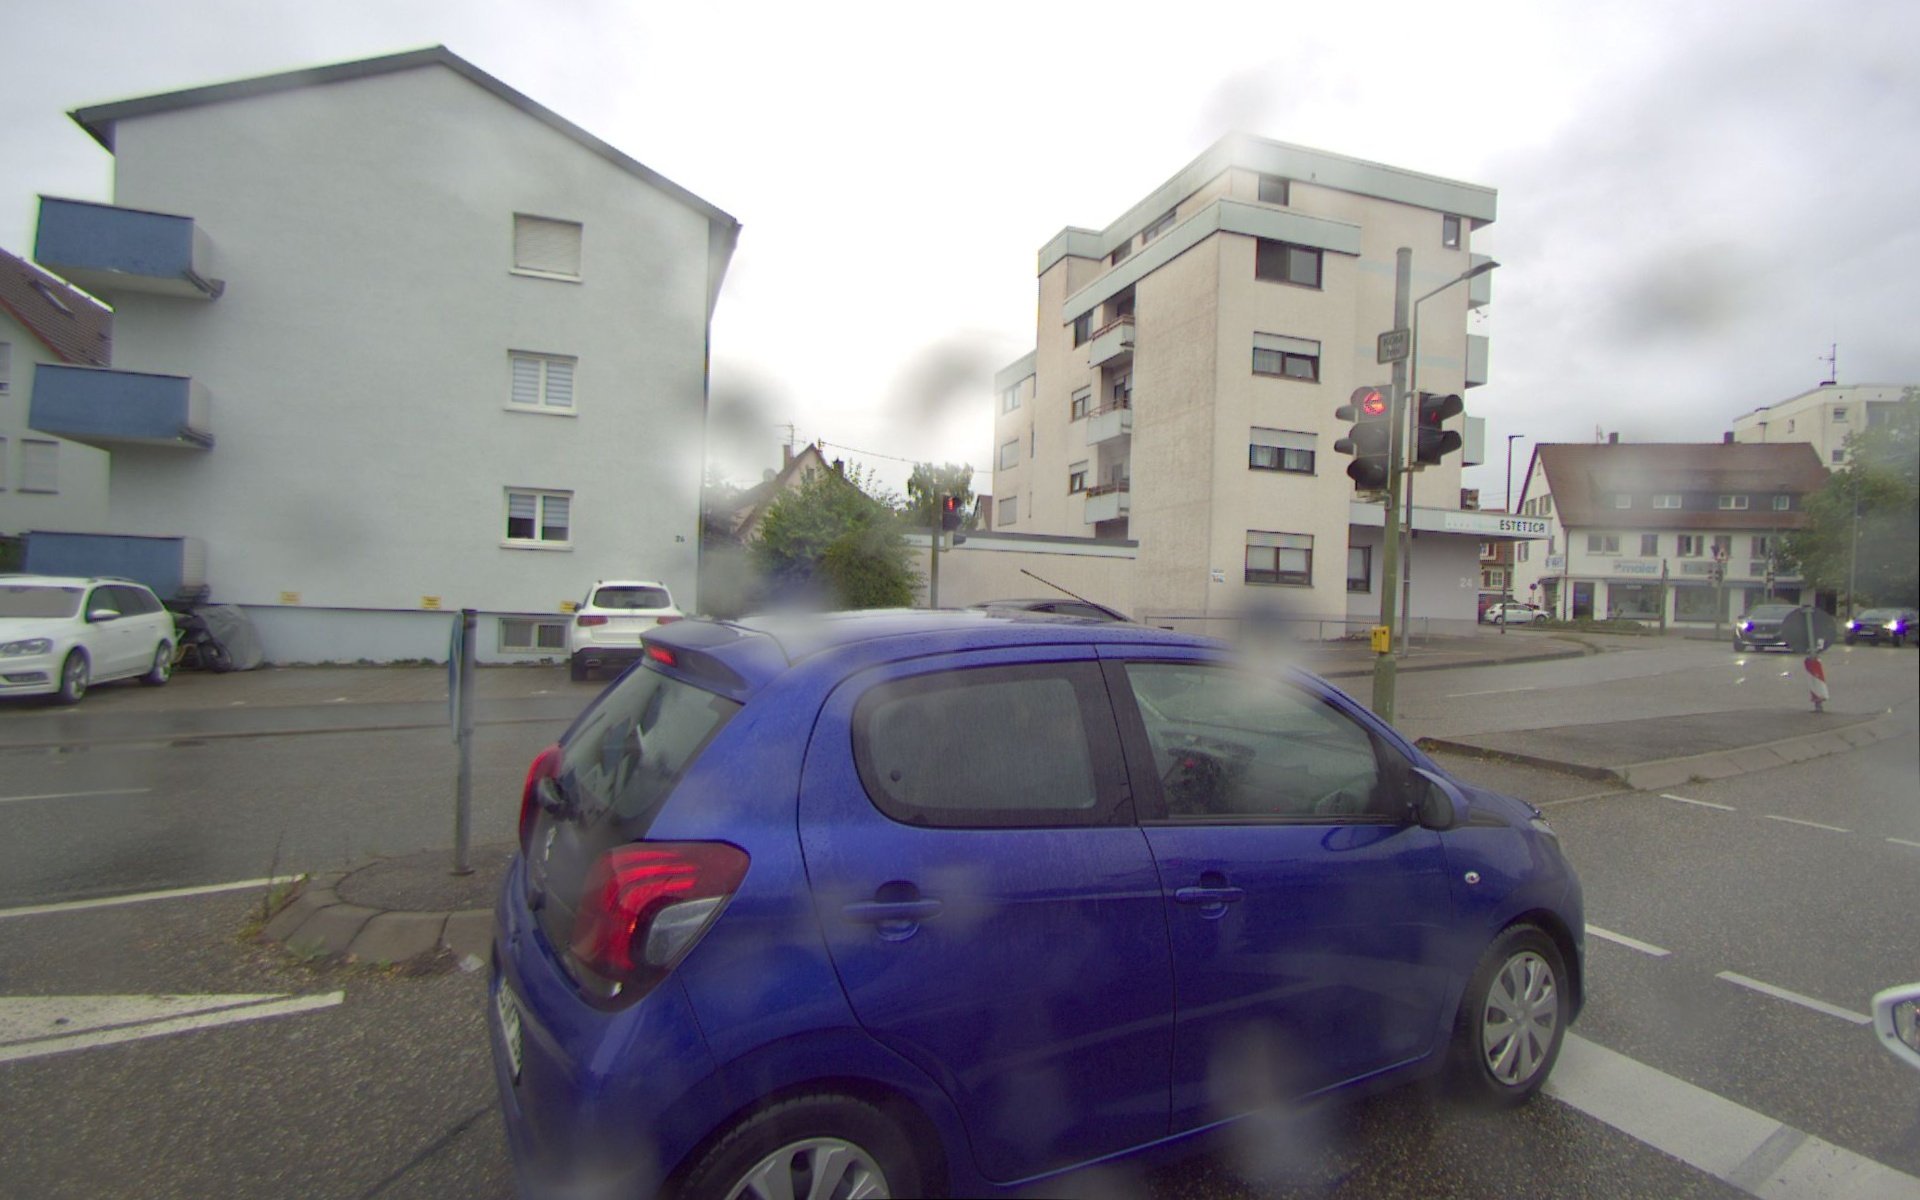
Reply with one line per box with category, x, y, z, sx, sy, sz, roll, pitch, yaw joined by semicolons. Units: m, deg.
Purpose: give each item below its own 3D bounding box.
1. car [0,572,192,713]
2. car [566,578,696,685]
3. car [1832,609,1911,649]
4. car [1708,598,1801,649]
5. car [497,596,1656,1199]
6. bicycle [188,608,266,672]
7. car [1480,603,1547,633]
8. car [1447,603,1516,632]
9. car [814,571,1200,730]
car;-11.483;0.450;12.505;1.854;1.480;4.732;1;-1;-23
car;-5.765;0.503;17.575;1.884;1.637;3.983;2;0;-19
car;39.114;1.238;43.066;4.149;1.618;1.864;2;0;-39
car;25.909;0.772;32.711;1.947;1.532;3.975;2;0;45
car;0.466;0.738;3.099;3.324;1.432;1.498;1;1;-30
bicycle;-12.696;0.683;17.420;1.053;1.067;0.345;0;1;-30
car;37.923;1.228;68.892;3.611;1.946;1.889;2;0;14
car;37.215;1.234;71.722;3.987;1.868;1.889;2;0;14
car;0.665;0.574;12.510;4.491;1.646;1.982;2;0;-33
